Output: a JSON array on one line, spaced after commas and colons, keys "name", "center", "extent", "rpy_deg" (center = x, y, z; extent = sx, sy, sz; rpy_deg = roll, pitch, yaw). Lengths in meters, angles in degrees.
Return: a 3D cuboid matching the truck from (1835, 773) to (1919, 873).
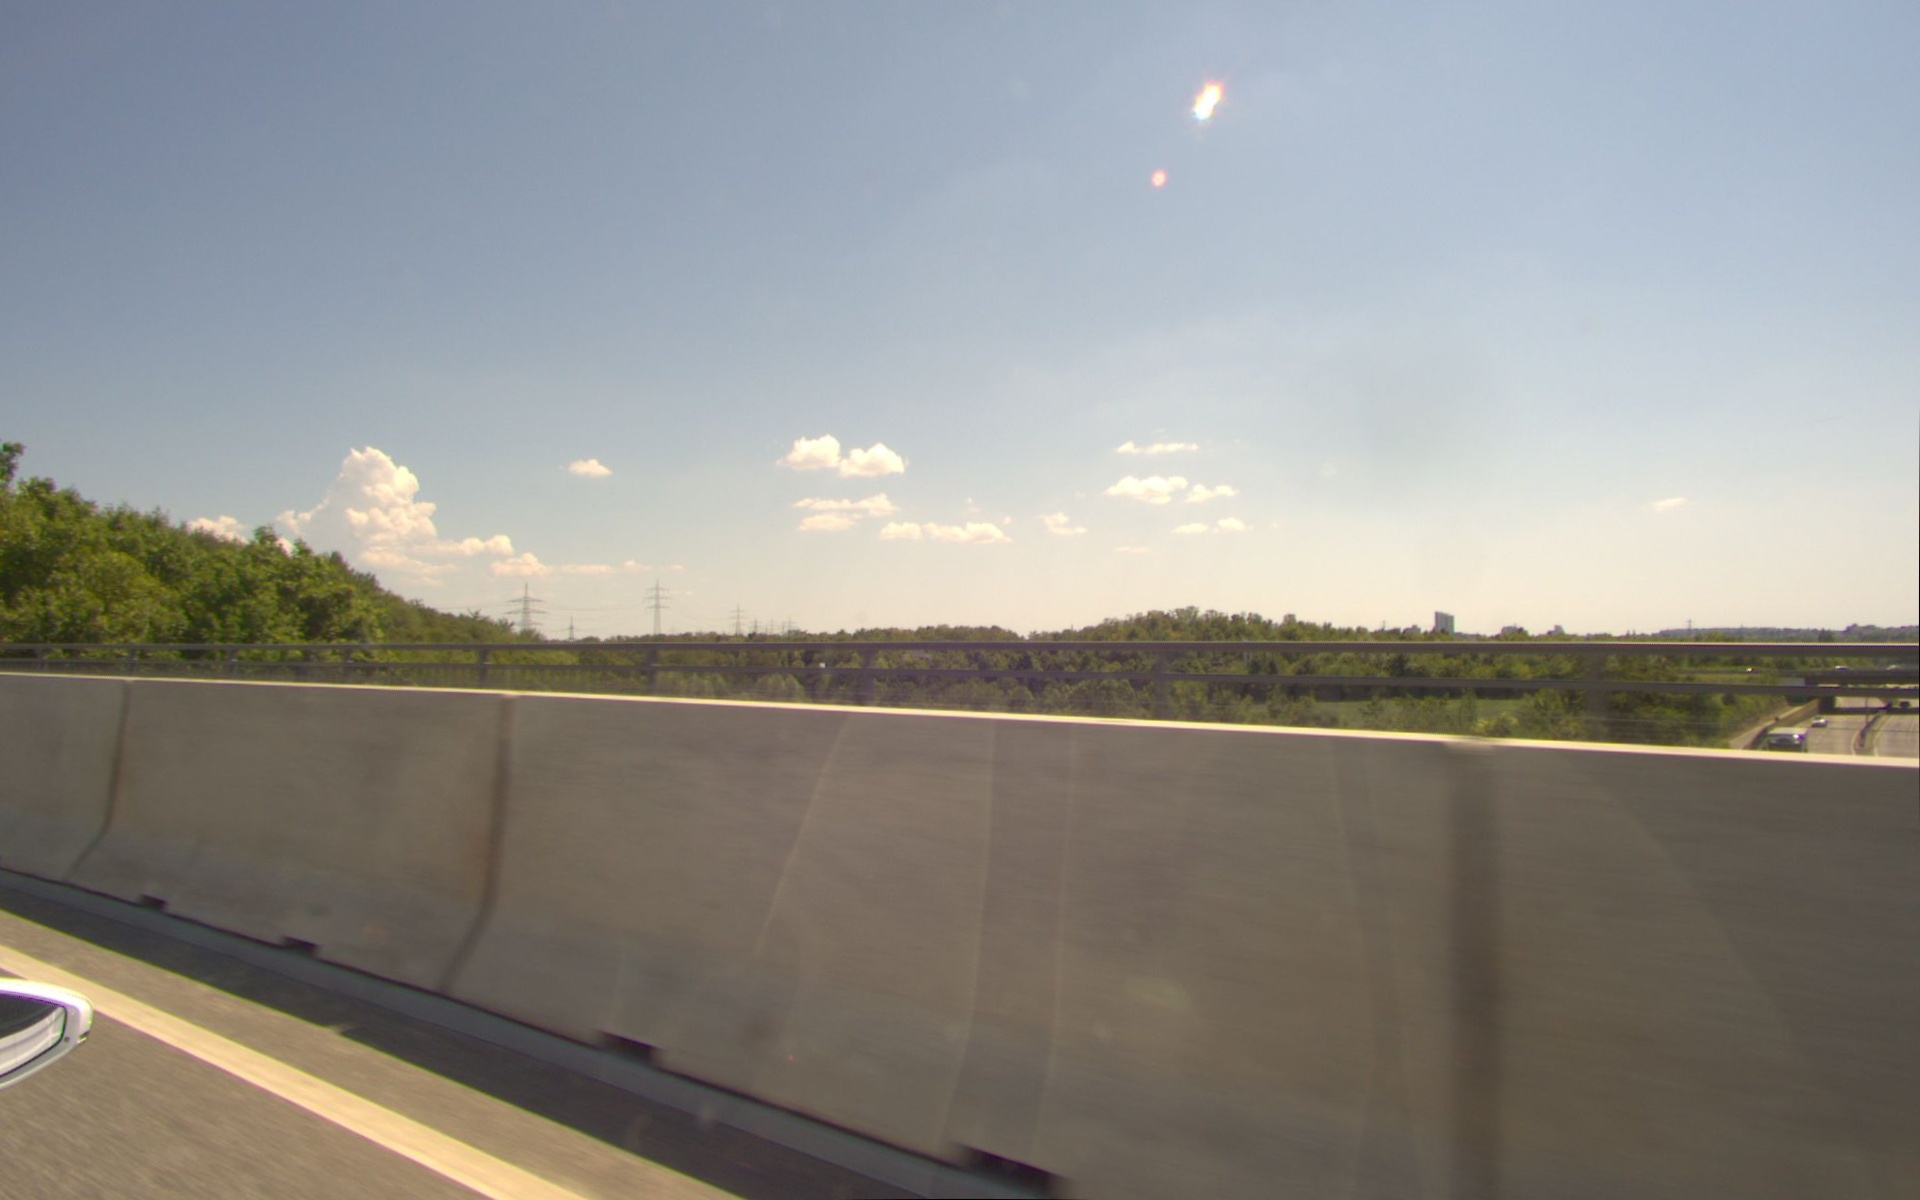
[{"name": "truck", "center": [47.036, 11.173, 51.178], "extent": [2.750, 4.088, 9.276], "rpy_deg": [-3, -7, 45]}]
